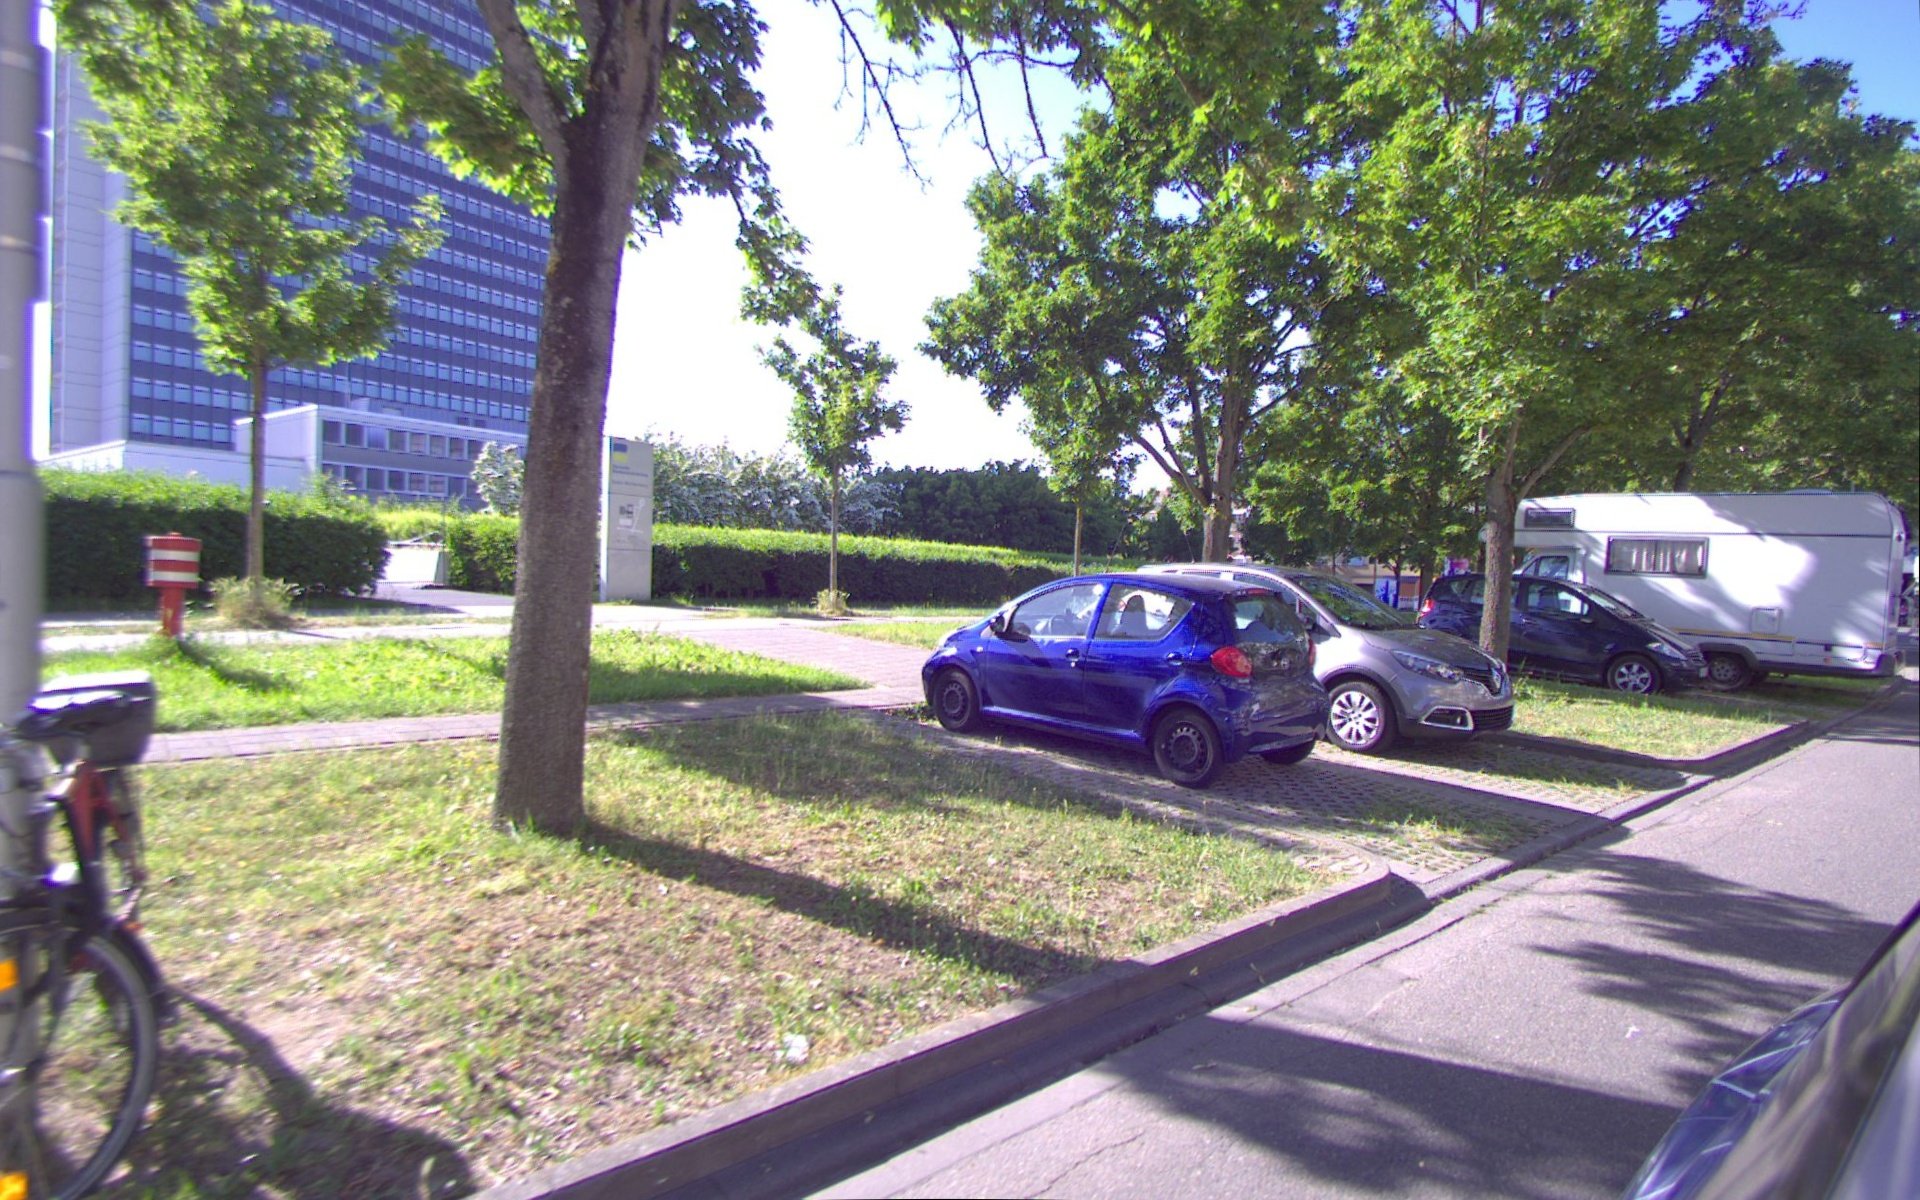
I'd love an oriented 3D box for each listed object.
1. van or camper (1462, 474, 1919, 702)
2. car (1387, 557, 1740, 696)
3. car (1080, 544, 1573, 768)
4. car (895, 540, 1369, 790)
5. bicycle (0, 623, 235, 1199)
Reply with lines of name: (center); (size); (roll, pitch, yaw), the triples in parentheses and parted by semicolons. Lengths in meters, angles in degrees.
van or camper: (11.865, -0.384, 16.386); (2.625, 3.019, 5.994); (0, 4, -42)
car: (8.927, 0.279, 15.245); (1.828, 1.564, 4.157); (0, 5, -43)
car: (3.392, 0.356, 10.084); (1.826, 1.564, 4.206); (1, 4, -40)
car: (1.299, 0.354, 8.527); (1.828, 1.496, 3.467); (0, 5, -44)
bicycle: (-2.252, 0.634, 2.516); (0.519, 1.003, 1.760); (1, 3, -29)
